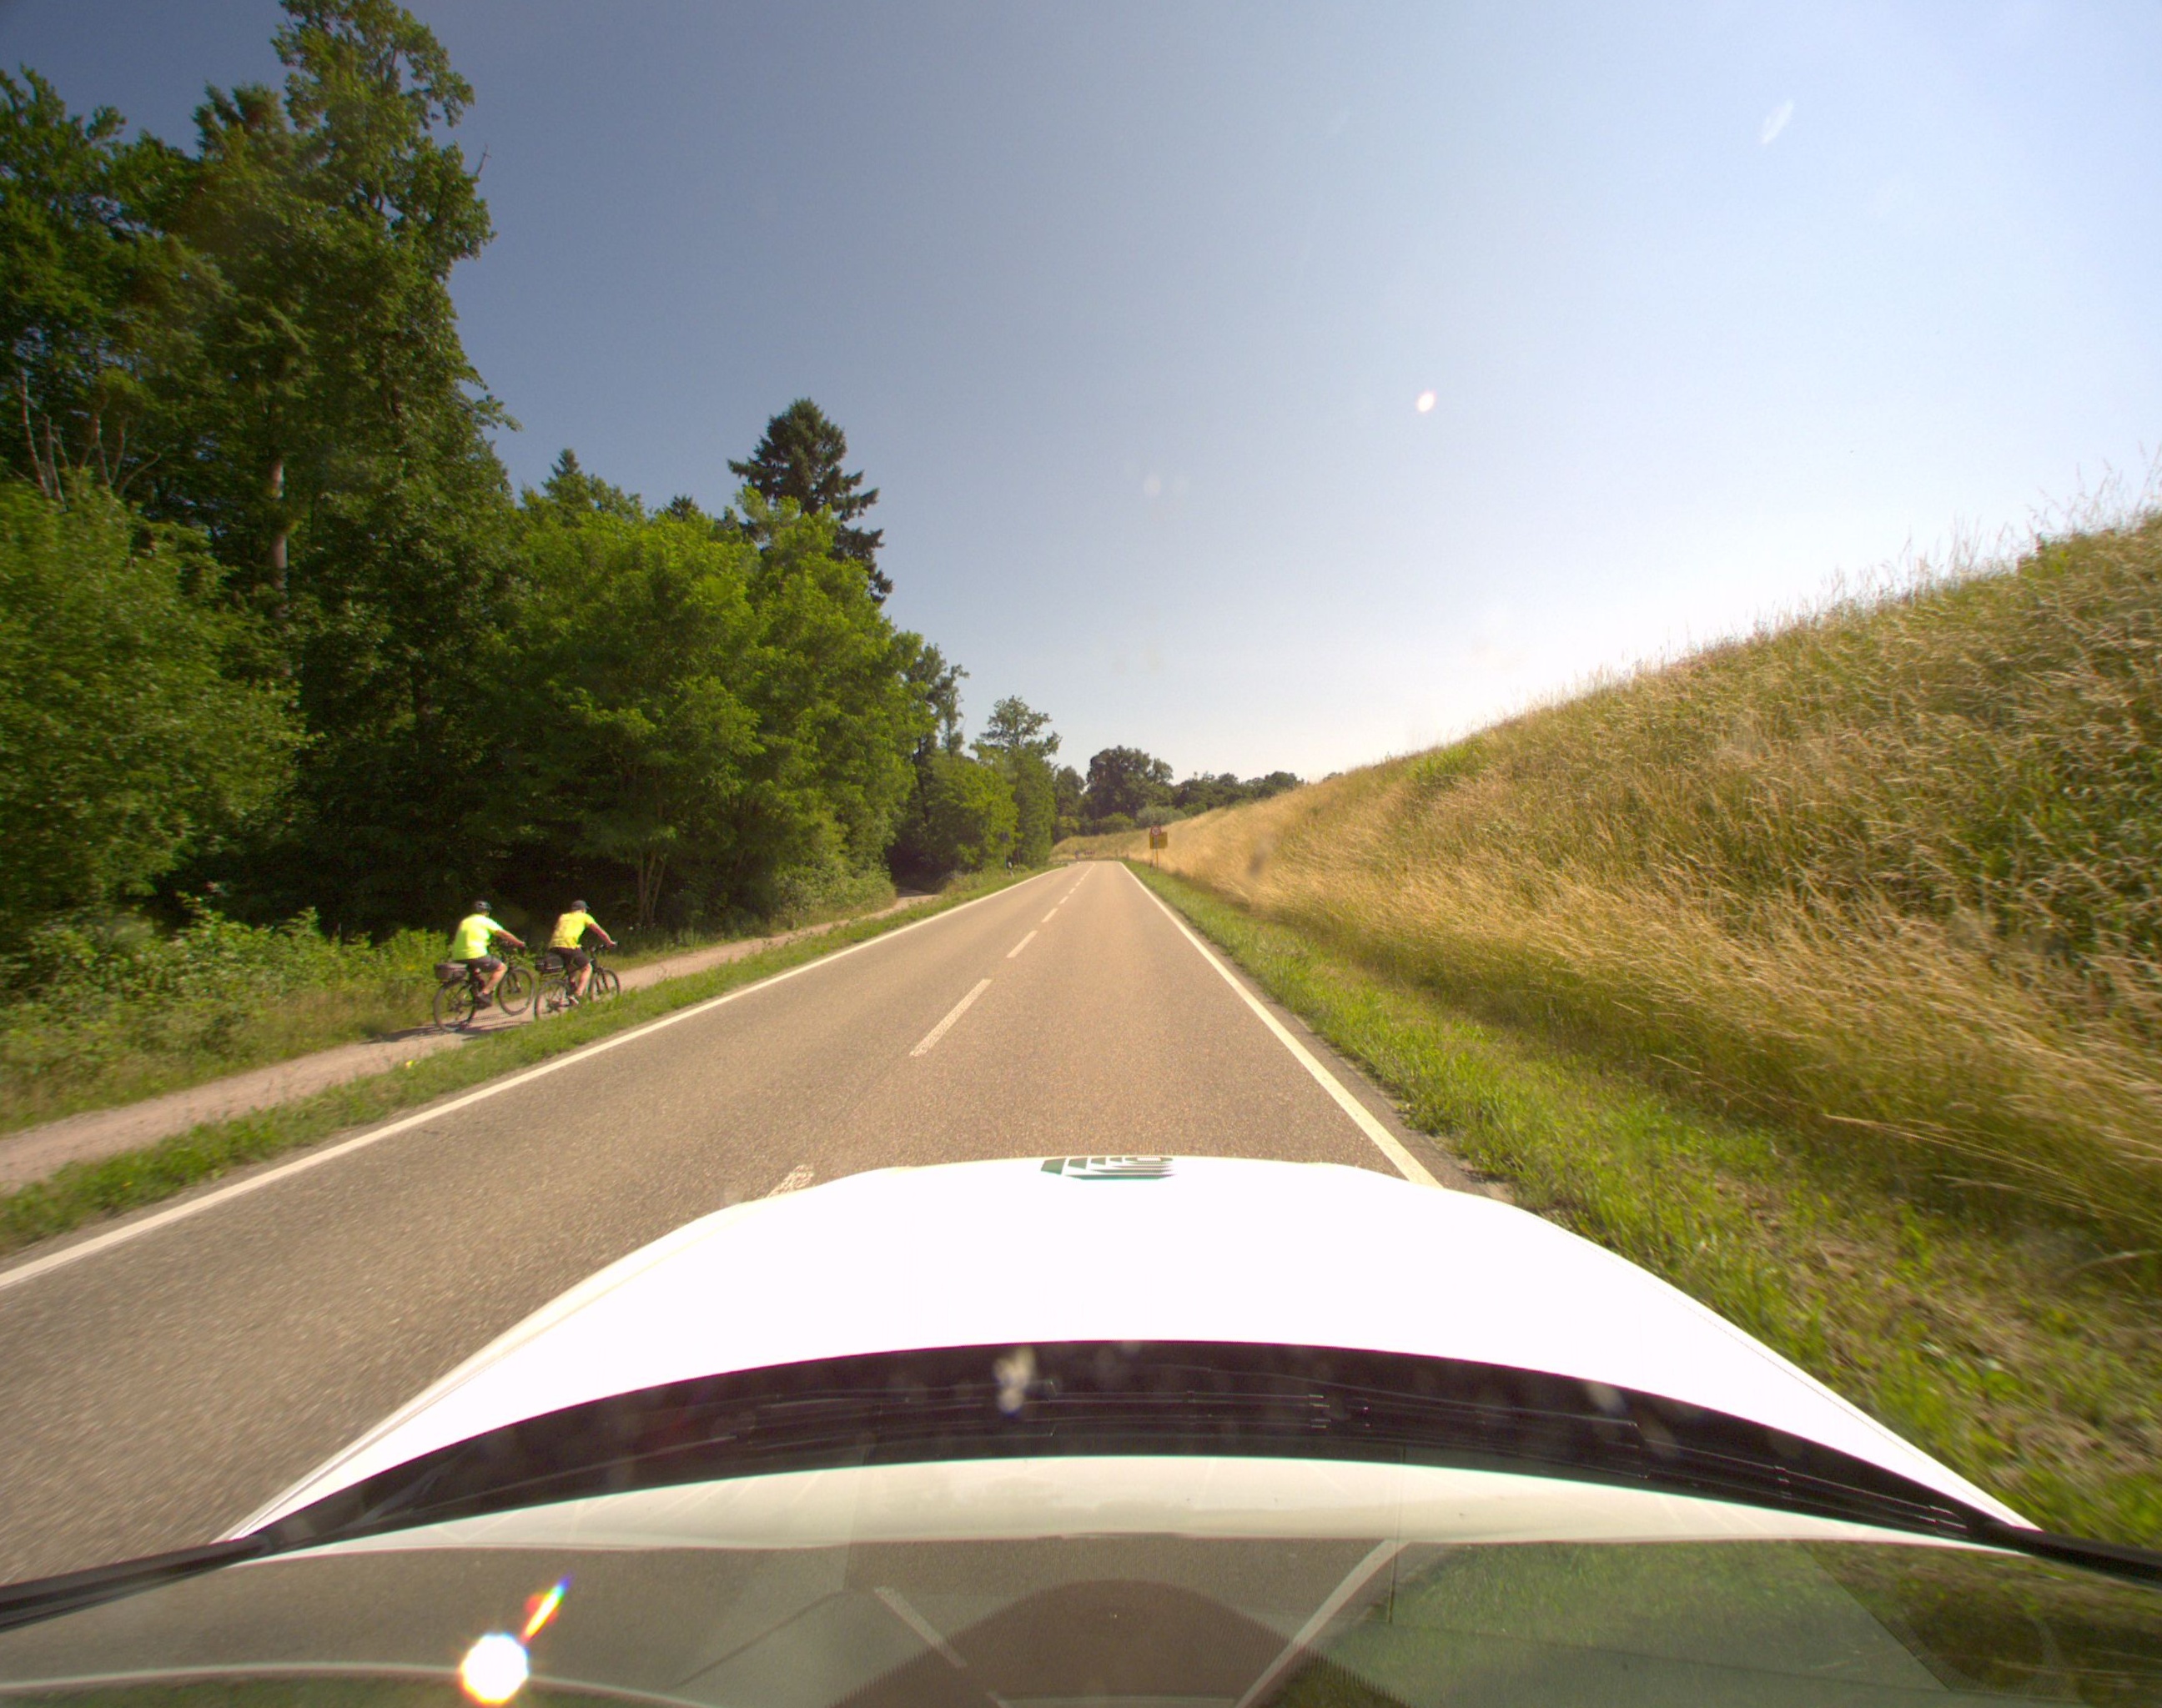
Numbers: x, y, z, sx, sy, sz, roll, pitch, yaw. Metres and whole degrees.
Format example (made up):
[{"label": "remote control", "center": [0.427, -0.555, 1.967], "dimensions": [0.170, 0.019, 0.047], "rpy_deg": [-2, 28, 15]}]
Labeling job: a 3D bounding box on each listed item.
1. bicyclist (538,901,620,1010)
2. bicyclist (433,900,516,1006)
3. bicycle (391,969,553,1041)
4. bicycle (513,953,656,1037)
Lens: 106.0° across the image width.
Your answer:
[{"label": "bicyclist", "center": [-7.098, 1.418, 11.547], "dimensions": [0.603, 1.415, 0.703], "rpy_deg": [-5, 0, 1]}, {"label": "bicyclist", "center": [-8.516, 1.367, 11.463], "dimensions": [0.603, 1.416, 0.703], "rpy_deg": [0, -2, 1]}, {"label": "bicycle", "center": [-8.518, 2.092, 11.529], "dimensions": [0.617, 0.681, 2.137], "rpy_deg": [0, -2, 2]}, {"label": "bicycle", "center": [-7.075, 1.980, 11.749], "dimensions": [0.637, 0.788, 2.137], "rpy_deg": [-5, 0, 2]}]
